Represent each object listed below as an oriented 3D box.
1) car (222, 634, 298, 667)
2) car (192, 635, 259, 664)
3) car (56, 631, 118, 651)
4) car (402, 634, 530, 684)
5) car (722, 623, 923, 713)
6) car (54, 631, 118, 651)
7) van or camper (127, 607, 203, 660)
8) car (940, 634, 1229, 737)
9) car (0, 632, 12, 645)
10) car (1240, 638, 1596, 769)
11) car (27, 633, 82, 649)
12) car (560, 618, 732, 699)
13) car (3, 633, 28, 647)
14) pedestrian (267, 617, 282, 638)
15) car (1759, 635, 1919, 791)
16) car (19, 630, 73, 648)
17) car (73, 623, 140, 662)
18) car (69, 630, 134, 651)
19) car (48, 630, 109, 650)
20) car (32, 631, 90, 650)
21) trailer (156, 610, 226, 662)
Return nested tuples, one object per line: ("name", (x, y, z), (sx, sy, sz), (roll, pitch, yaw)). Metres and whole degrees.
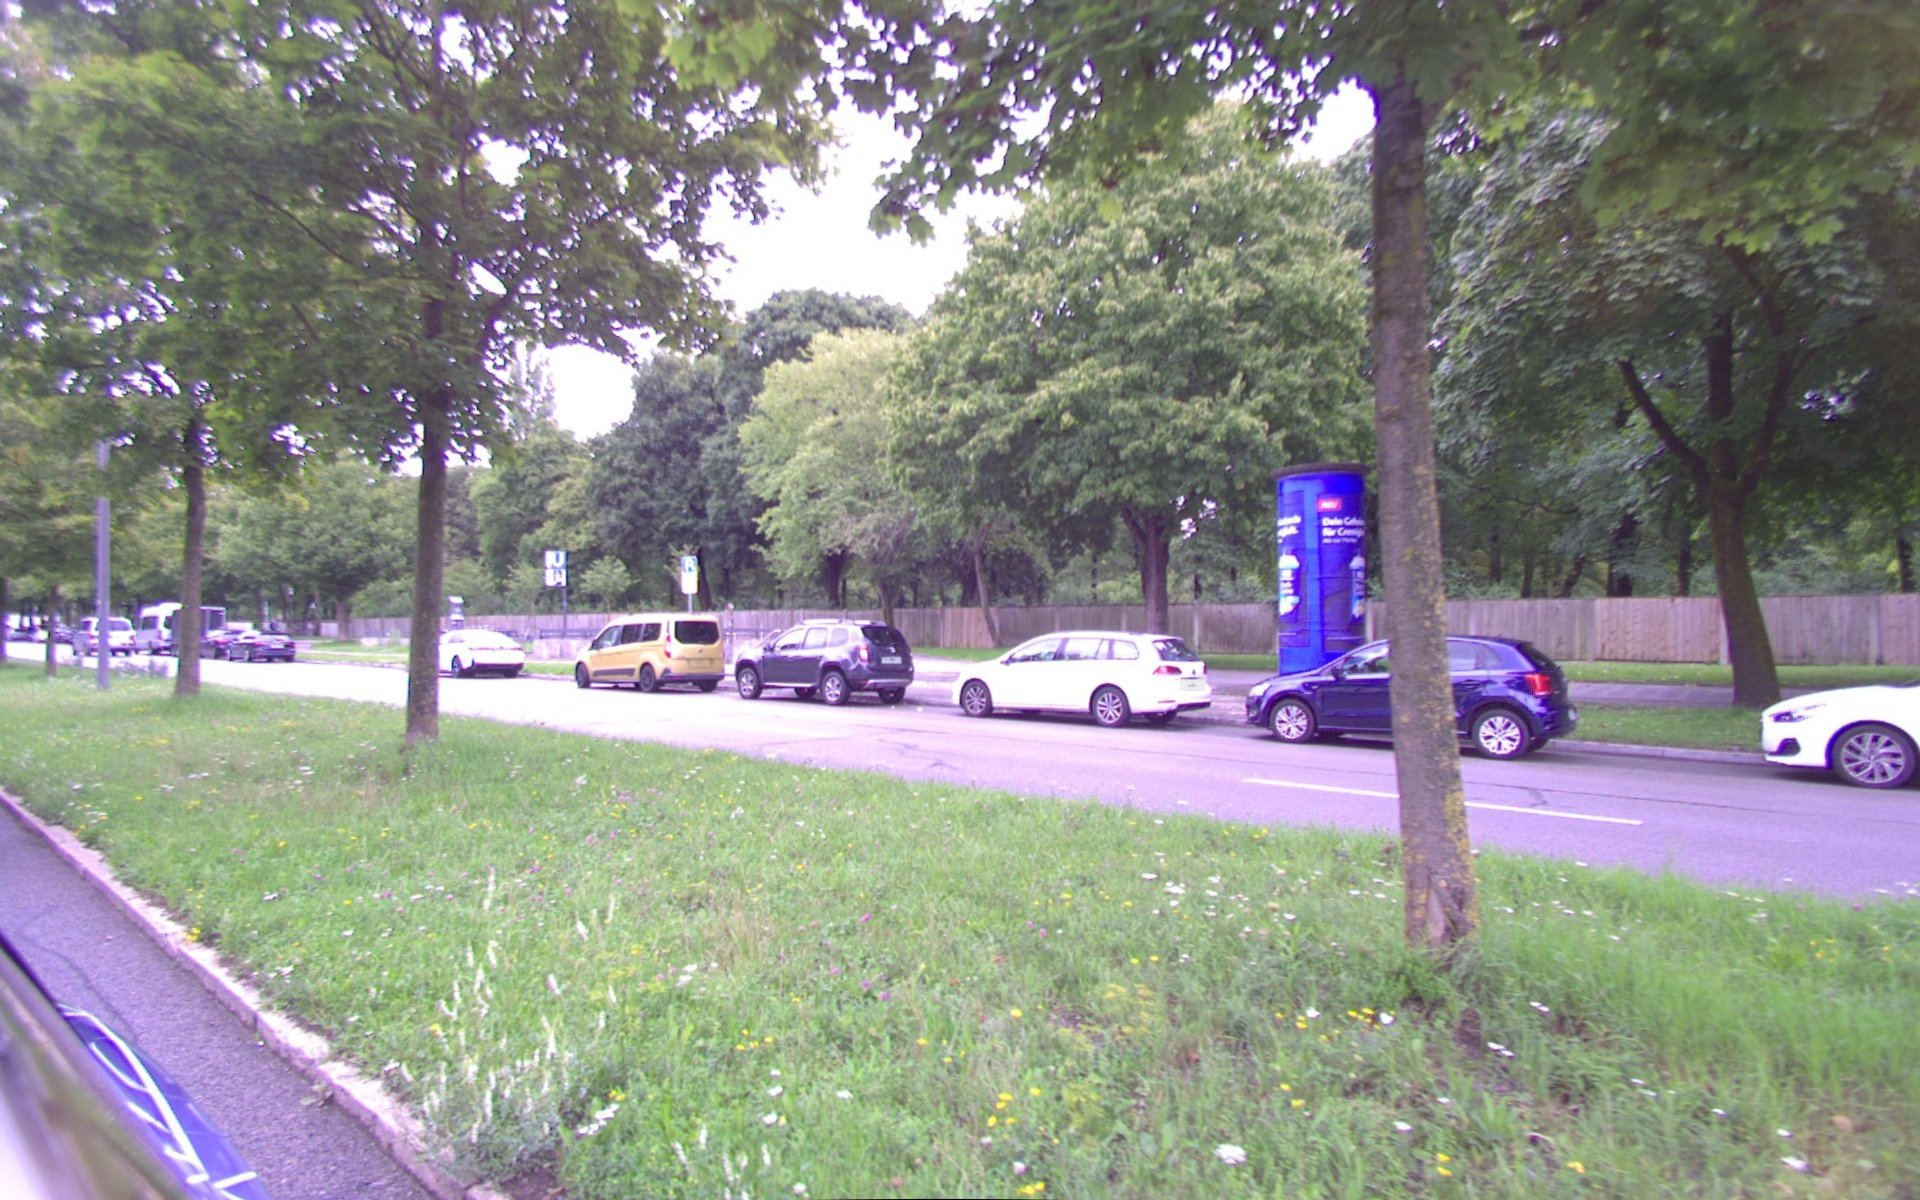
("car", (-31.542, 2.261, 45.572), (4.429, 1.436, 1.781), (-2, -3, 41))
("car", (-36.278, 2.428, 49.947), (4.236, 1.394, 1.781), (-2, -3, 41))
("car", (-79.026, 3.673, 91.684), (1.870, 1.569, 3.990), (-2, 0, 8))
("car", (-15.670, 1.818, 31.996), (4.871, 1.484, 1.838), (-2, -3, 40))
("car", (-2.910, 1.347, 20.873), (4.253, 1.658, 1.719), (-2, -3, 40))
("car", (-76.648, 3.567, 88.843), (1.870, 1.569, 3.990), (-2, 0, 8))
("van or camper", (-45.393, 1.950, 57.702), (7.542, 2.859, 2.014), (-2, -3, 41))
("car", (1.930, 1.309, 16.618), (4.529, 1.461, 1.744), (-2, -3, 40))
("car", (-113.780, 4.604, 120.030), (1.864, 1.454, 4.171), (0, -1, -45))
("car", (5.770, 1.212, 12.983), (3.893, 1.428, 1.597), (-2, -3, 39))
("car", (-90.674, 4.099, 101.427), (1.574, 1.376, 3.987), (-1, 0, 10))
("car", (-7.754, 1.394, 24.769), (4.816, 1.796, 1.795), (-2, -3, 42))
("car", (-104.788, 4.449, 112.271), (1.864, 1.454, 4.171), (0, -1, -45))
("pedestrian", (-56.728, 2.292, 83.808), (0.872, 1.781, 0.761), (-1, -2, 37))
("car", (10.205, 1.063, 9.404), (4.277, 1.455, 1.590), (-2, -3, 41))
("car", (-95.575, 4.053, 105.882), (1.760, 1.741, 3.992), (-1, 0, 6))
("car", (-44.407, 2.175, 52.623), (4.990, 1.948, 1.781), (-1, -3, 40))
("car", (-74.304, 3.523, 87.640), (1.873, 1.569, 3.983), (-2, 0, 13))
("car", (-81.344, 3.693, 93.477), (1.870, 1.569, 3.990), (-2, 0, 8))
("car", (-88.203, 3.952, 99.310), (1.870, 1.569, 3.990), (-2, 0, 8))
("trailer", (-40.834, 1.930, 53.683), (4.656, 2.610, 1.996), (-2, -3, 41))
